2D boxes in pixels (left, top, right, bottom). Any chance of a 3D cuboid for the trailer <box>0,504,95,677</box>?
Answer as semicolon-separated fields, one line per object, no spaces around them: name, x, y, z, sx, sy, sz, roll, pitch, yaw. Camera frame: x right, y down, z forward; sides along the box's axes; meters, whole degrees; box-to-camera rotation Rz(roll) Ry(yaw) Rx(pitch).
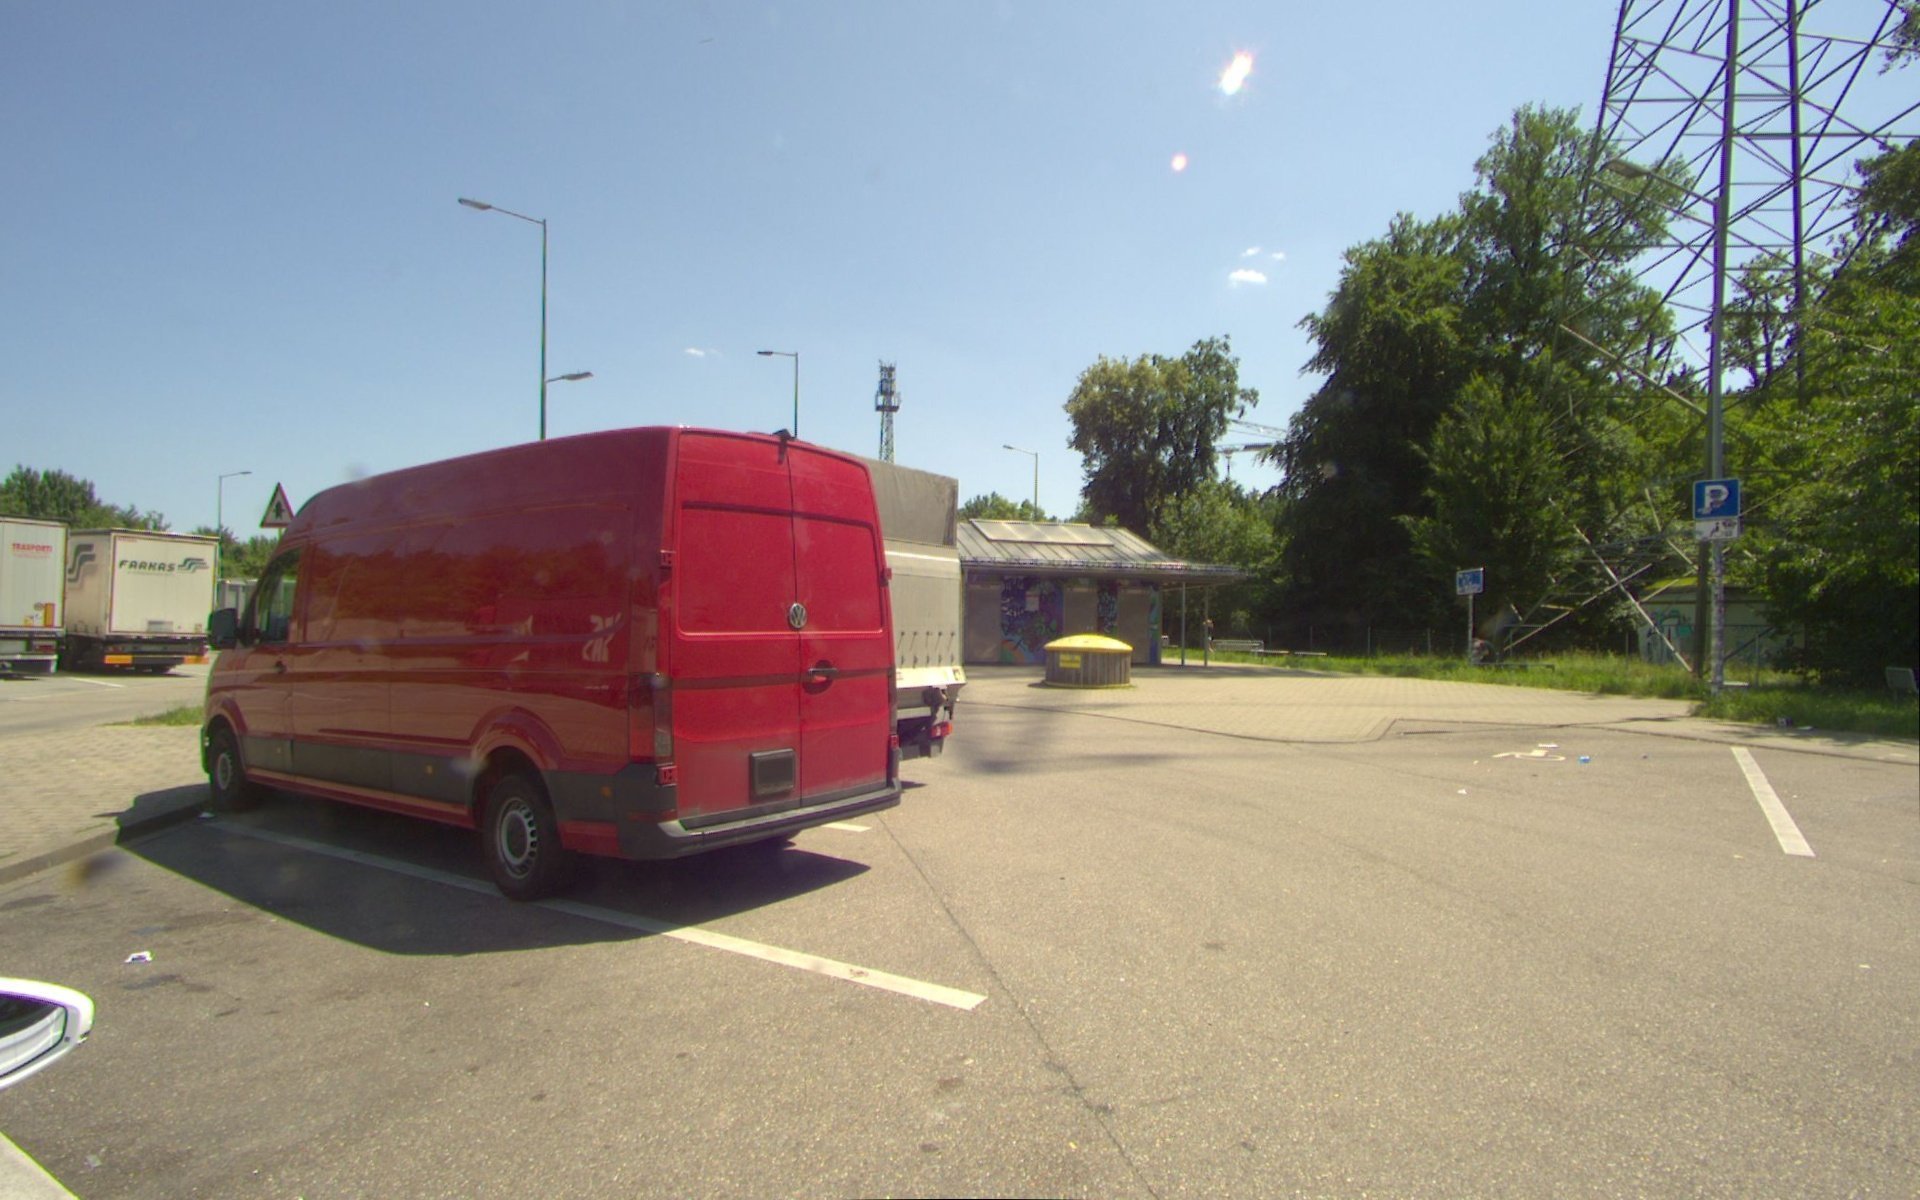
trailer;-28.695;-0.339;28.021;13.561;4.162;2.854;1;-2;32

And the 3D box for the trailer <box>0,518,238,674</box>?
trailer;-27.623;-0.166;31.609;13.561;4.162;2.854;1;-2;32

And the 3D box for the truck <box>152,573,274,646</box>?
truck;-37.560;0.478;50.321;5.887;3.406;2.862;1;-2;32

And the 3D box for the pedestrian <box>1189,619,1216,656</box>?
pedestrian;10.678;1.656;44.126;0.903;1.639;0.814;0;-1;-6

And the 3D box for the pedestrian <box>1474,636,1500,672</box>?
pedestrian;14.635;1.493;27.824;0.439;0.987;0.460;0;-1;-19

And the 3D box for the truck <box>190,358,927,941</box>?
truck;-3.342;0.303;7.341;6.372;2.685;2.005;-1;-2;37

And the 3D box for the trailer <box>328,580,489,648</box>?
trailer;-36.184;0.849;65.337;13.561;3.955;2.854;1;-2;32

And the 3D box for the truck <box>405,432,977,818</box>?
truck;-3.092;0.275;10.525;6.372;2.944;2.411;-1;-2;37

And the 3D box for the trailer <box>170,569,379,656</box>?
trailer;-32.488;0.488;47.098;13.561;3.646;2.854;1;-2;32
